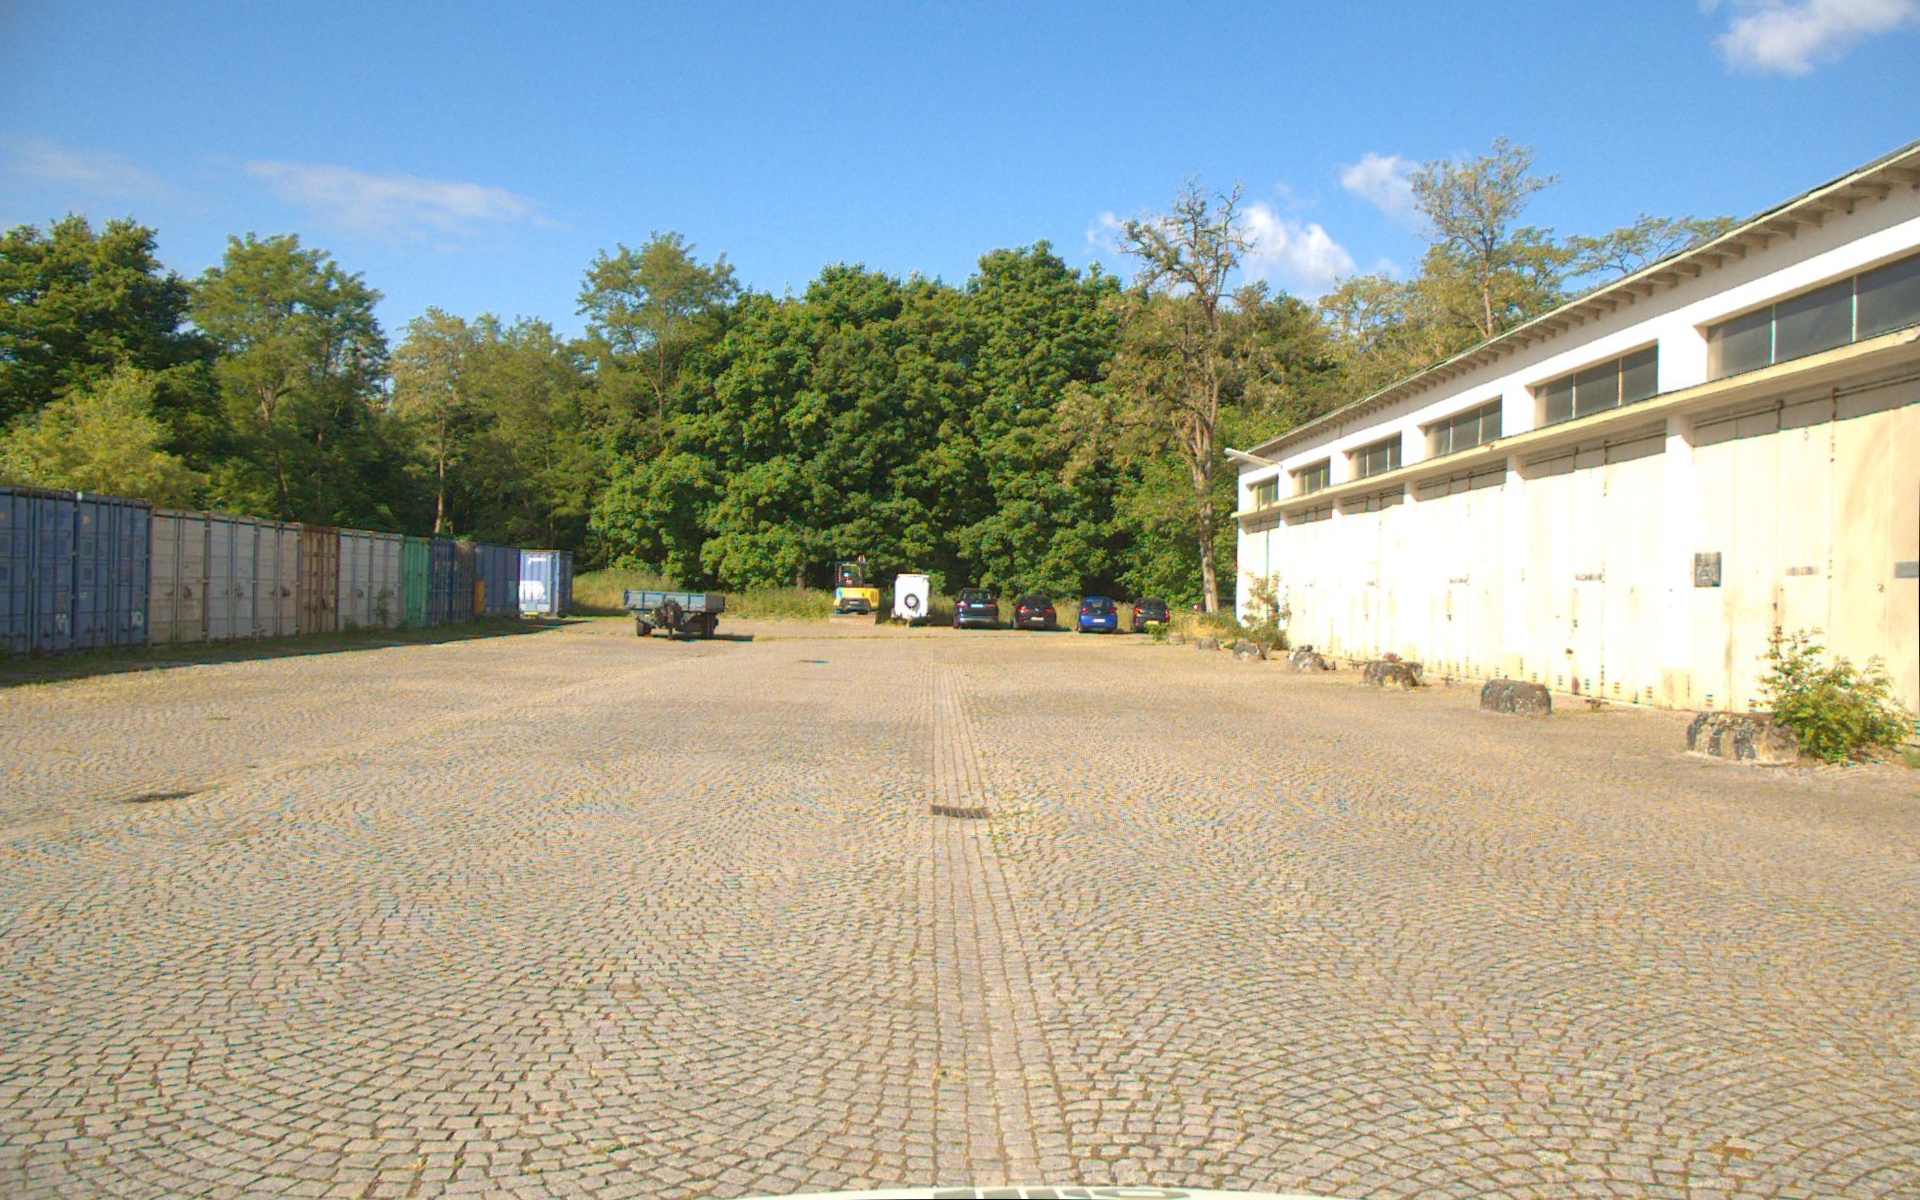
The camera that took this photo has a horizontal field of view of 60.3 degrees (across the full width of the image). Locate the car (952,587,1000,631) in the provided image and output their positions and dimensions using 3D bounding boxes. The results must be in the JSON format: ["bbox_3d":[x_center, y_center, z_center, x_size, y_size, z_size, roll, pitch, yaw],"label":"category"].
[{"bbox_3d":[0.630,0.330,68.610,1.826,1.617,4.295,3,1,-1],"label":"car"}]

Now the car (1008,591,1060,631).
[{"bbox_3d":[3.062,0.431,69.032,1.826,1.495,4.295,3,1,-1],"label":"car"}]

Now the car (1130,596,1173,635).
[{"bbox_3d":[8.148,0.634,70.494,1.707,1.461,4.186,3,1,6],"label":"car"}]

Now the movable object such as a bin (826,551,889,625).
[{"bbox_3d":[-4.384,-0.565,71.473,2.259,2.947,5.751,3,1,0],"label":"movable object such as a bin"}]

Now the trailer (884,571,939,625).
[{"bbox_3d":[-2.051,-0.134,70.930,2.149,2.131,5.750,3,1,-1],"label":"trailer"}]

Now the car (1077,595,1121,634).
[{"bbox_3d":[5.771,0.584,69.032,1.707,1.461,4.185,3,1,4],"label":"car"}]

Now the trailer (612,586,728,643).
[{"bbox_3d":[-8.780,0.393,50.689,2.651,1.491,6.244,3,1,-3],"label":"trailer"}]
